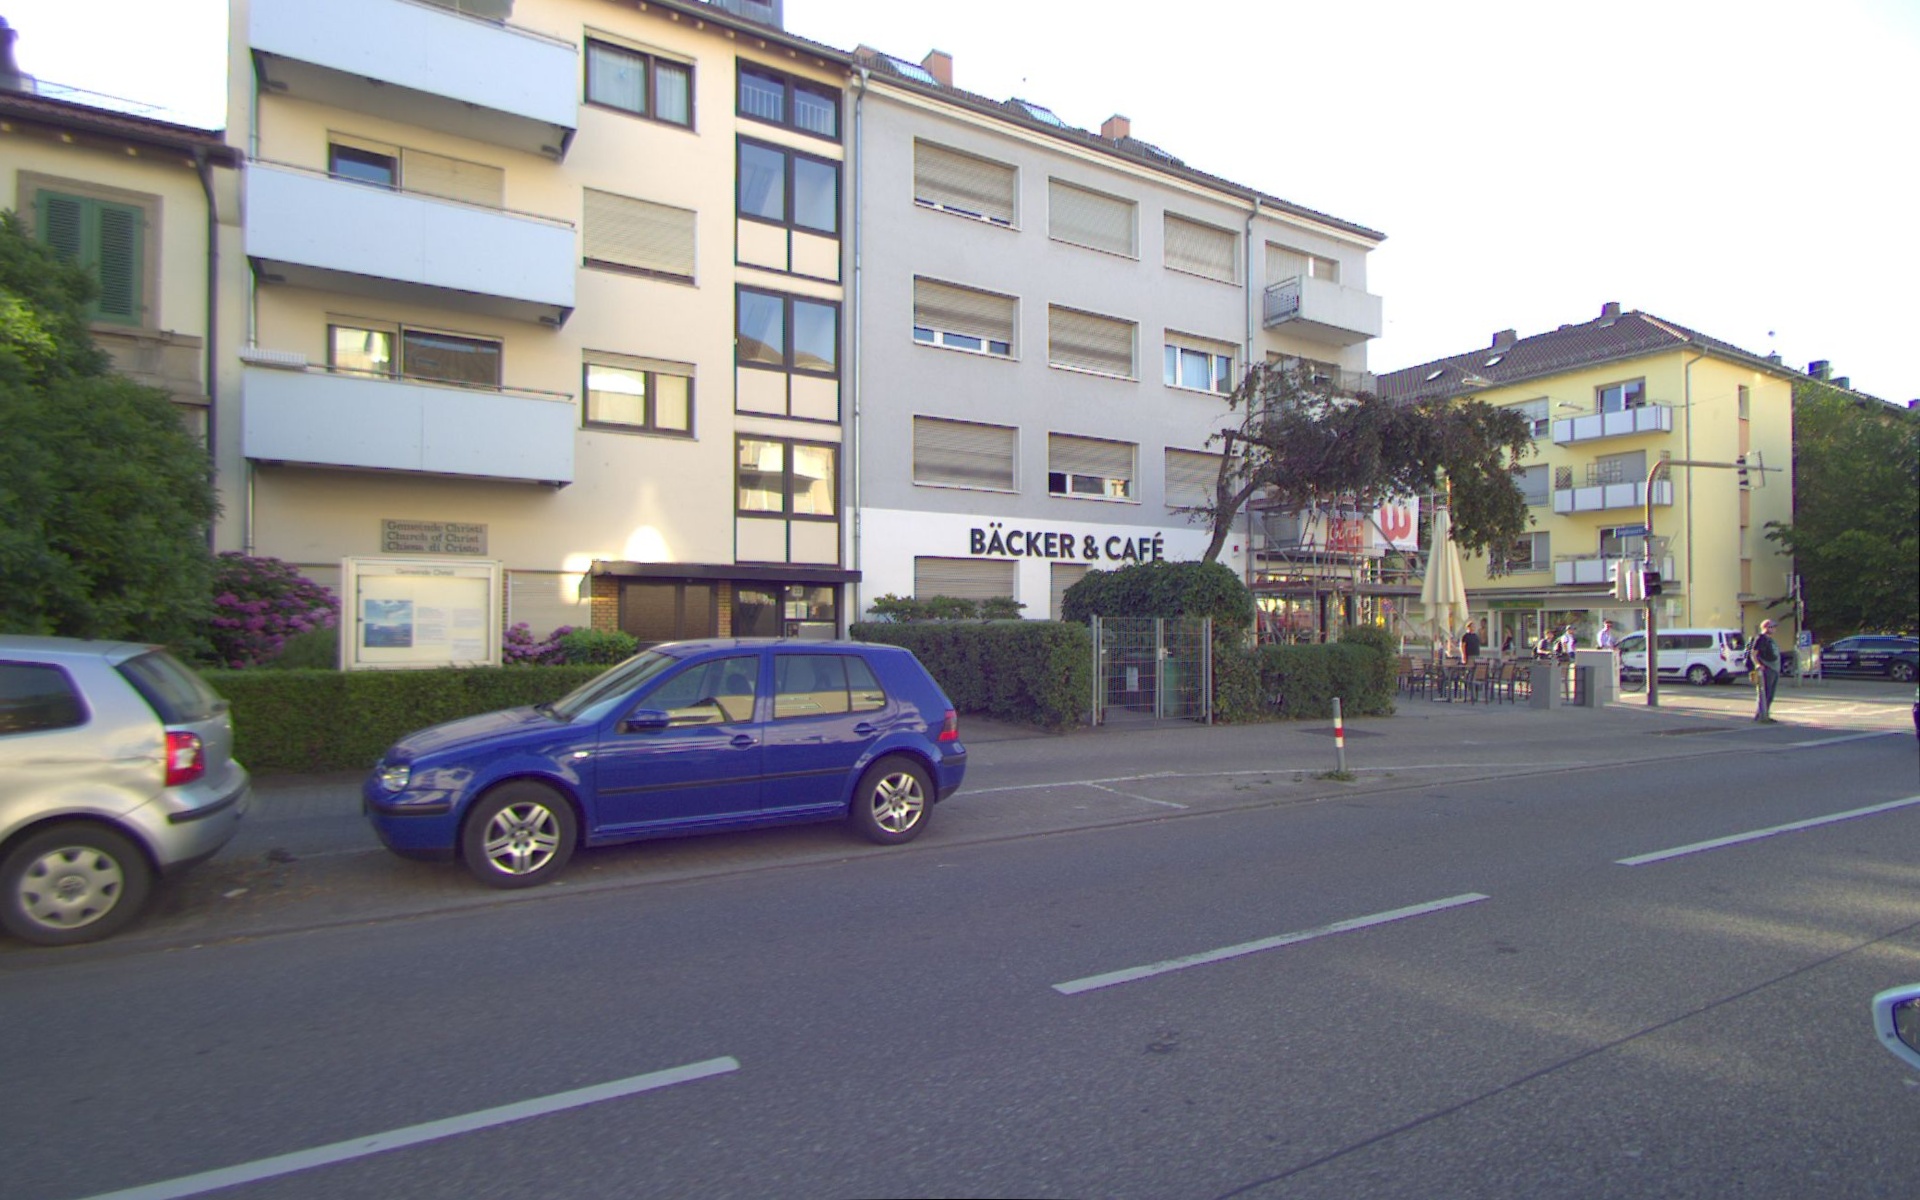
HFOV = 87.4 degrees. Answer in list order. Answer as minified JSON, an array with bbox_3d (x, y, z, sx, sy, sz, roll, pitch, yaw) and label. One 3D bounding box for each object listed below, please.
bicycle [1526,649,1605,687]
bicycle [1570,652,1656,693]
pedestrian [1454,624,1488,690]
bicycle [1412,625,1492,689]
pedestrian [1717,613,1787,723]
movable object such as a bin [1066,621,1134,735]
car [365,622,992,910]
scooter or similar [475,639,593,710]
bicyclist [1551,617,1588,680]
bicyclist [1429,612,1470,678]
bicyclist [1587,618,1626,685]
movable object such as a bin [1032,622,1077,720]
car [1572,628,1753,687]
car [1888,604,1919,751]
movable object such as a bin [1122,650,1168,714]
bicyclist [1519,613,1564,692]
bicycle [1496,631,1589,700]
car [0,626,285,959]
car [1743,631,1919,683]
[{"bbox_3d":[18.099,2.020,30.052,0.713,1.085,1.884,2,-2,-39],"label":"bicycle"},{"bbox_3d":[18.281,2.007,28.145,0.713,1.085,1.884,2,-2,-39],"label":"bicycle"},{"bbox_3d":[13.350,1.485,26.238,0.638,1.697,0.573,2,-2,-40],"label":"pedestrian"},{"bbox_3d":[13.811,1.581,28.249,0.749,1.729,1.909,1,-2,-33],"label":"bicycle"},{"bbox_3d":[14.976,1.268,18.993,0.811,2.014,0.776,1,-2,-30],"label":"pedestrian"},{"bbox_3d":[1.948,1.063,13.957,0.732,1.532,0.590,1,-2,-29],"label":"movable object such as a bin"},{"bbox_3d":[-1.908,0.959,7.216,4.027,1.538,1.640,1,-1,-31],"label":"car"},{"bbox_3d":[-7.002,1.205,16.550,1.748,1.110,0.382,1,-2,-32],"label":"scooter or similar"},{"bbox_3d":[18.177,1.435,29.959,0.648,1.847,0.733,1,-2,-39],"label":"bicyclist"},{"bbox_3d":[13.783,1.252,28.292,0.702,1.823,0.781,1,-2,-32],"label":"bicyclist"},{"bbox_3d":[18.171,1.431,28.244,0.648,1.847,0.733,1,-2,-39],"label":"bicyclist"},{"bbox_3d":[1.434,1.060,15.232,0.569,1.446,0.390,1,-2,-32],"label":"movable object such as a bin"},{"bbox_3d":[23.256,1.847,33.469,1.840,1.835,4.612,1,-2,-30],"label":"car"},{"bbox_3d":[15.120,1.027,13.931,4.908,1.933,1.984,1,-4,-31],"label":"car"},{"bbox_3d":[2.950,1.300,16.017,0.434,0.981,0.601,1,-2,-30],"label":"movable object such as a bin"},{"bbox_3d":[15.290,1.372,26.395,0.835,2.040,0.721,1,-2,-33],"label":"bicyclist"},{"bbox_3d":[15.252,1.686,26.352,0.749,1.729,2.011,1,-2,-32],"label":"bicycle"},{"bbox_3d":[-5.622,0.897,4.886,3.759,1.490,1.585,1,0,-31],"label":"car"},{"bbox_3d":[29.810,1.871,34.240,1.840,1.555,4.611,1,-1,-30],"label":"car"}]
